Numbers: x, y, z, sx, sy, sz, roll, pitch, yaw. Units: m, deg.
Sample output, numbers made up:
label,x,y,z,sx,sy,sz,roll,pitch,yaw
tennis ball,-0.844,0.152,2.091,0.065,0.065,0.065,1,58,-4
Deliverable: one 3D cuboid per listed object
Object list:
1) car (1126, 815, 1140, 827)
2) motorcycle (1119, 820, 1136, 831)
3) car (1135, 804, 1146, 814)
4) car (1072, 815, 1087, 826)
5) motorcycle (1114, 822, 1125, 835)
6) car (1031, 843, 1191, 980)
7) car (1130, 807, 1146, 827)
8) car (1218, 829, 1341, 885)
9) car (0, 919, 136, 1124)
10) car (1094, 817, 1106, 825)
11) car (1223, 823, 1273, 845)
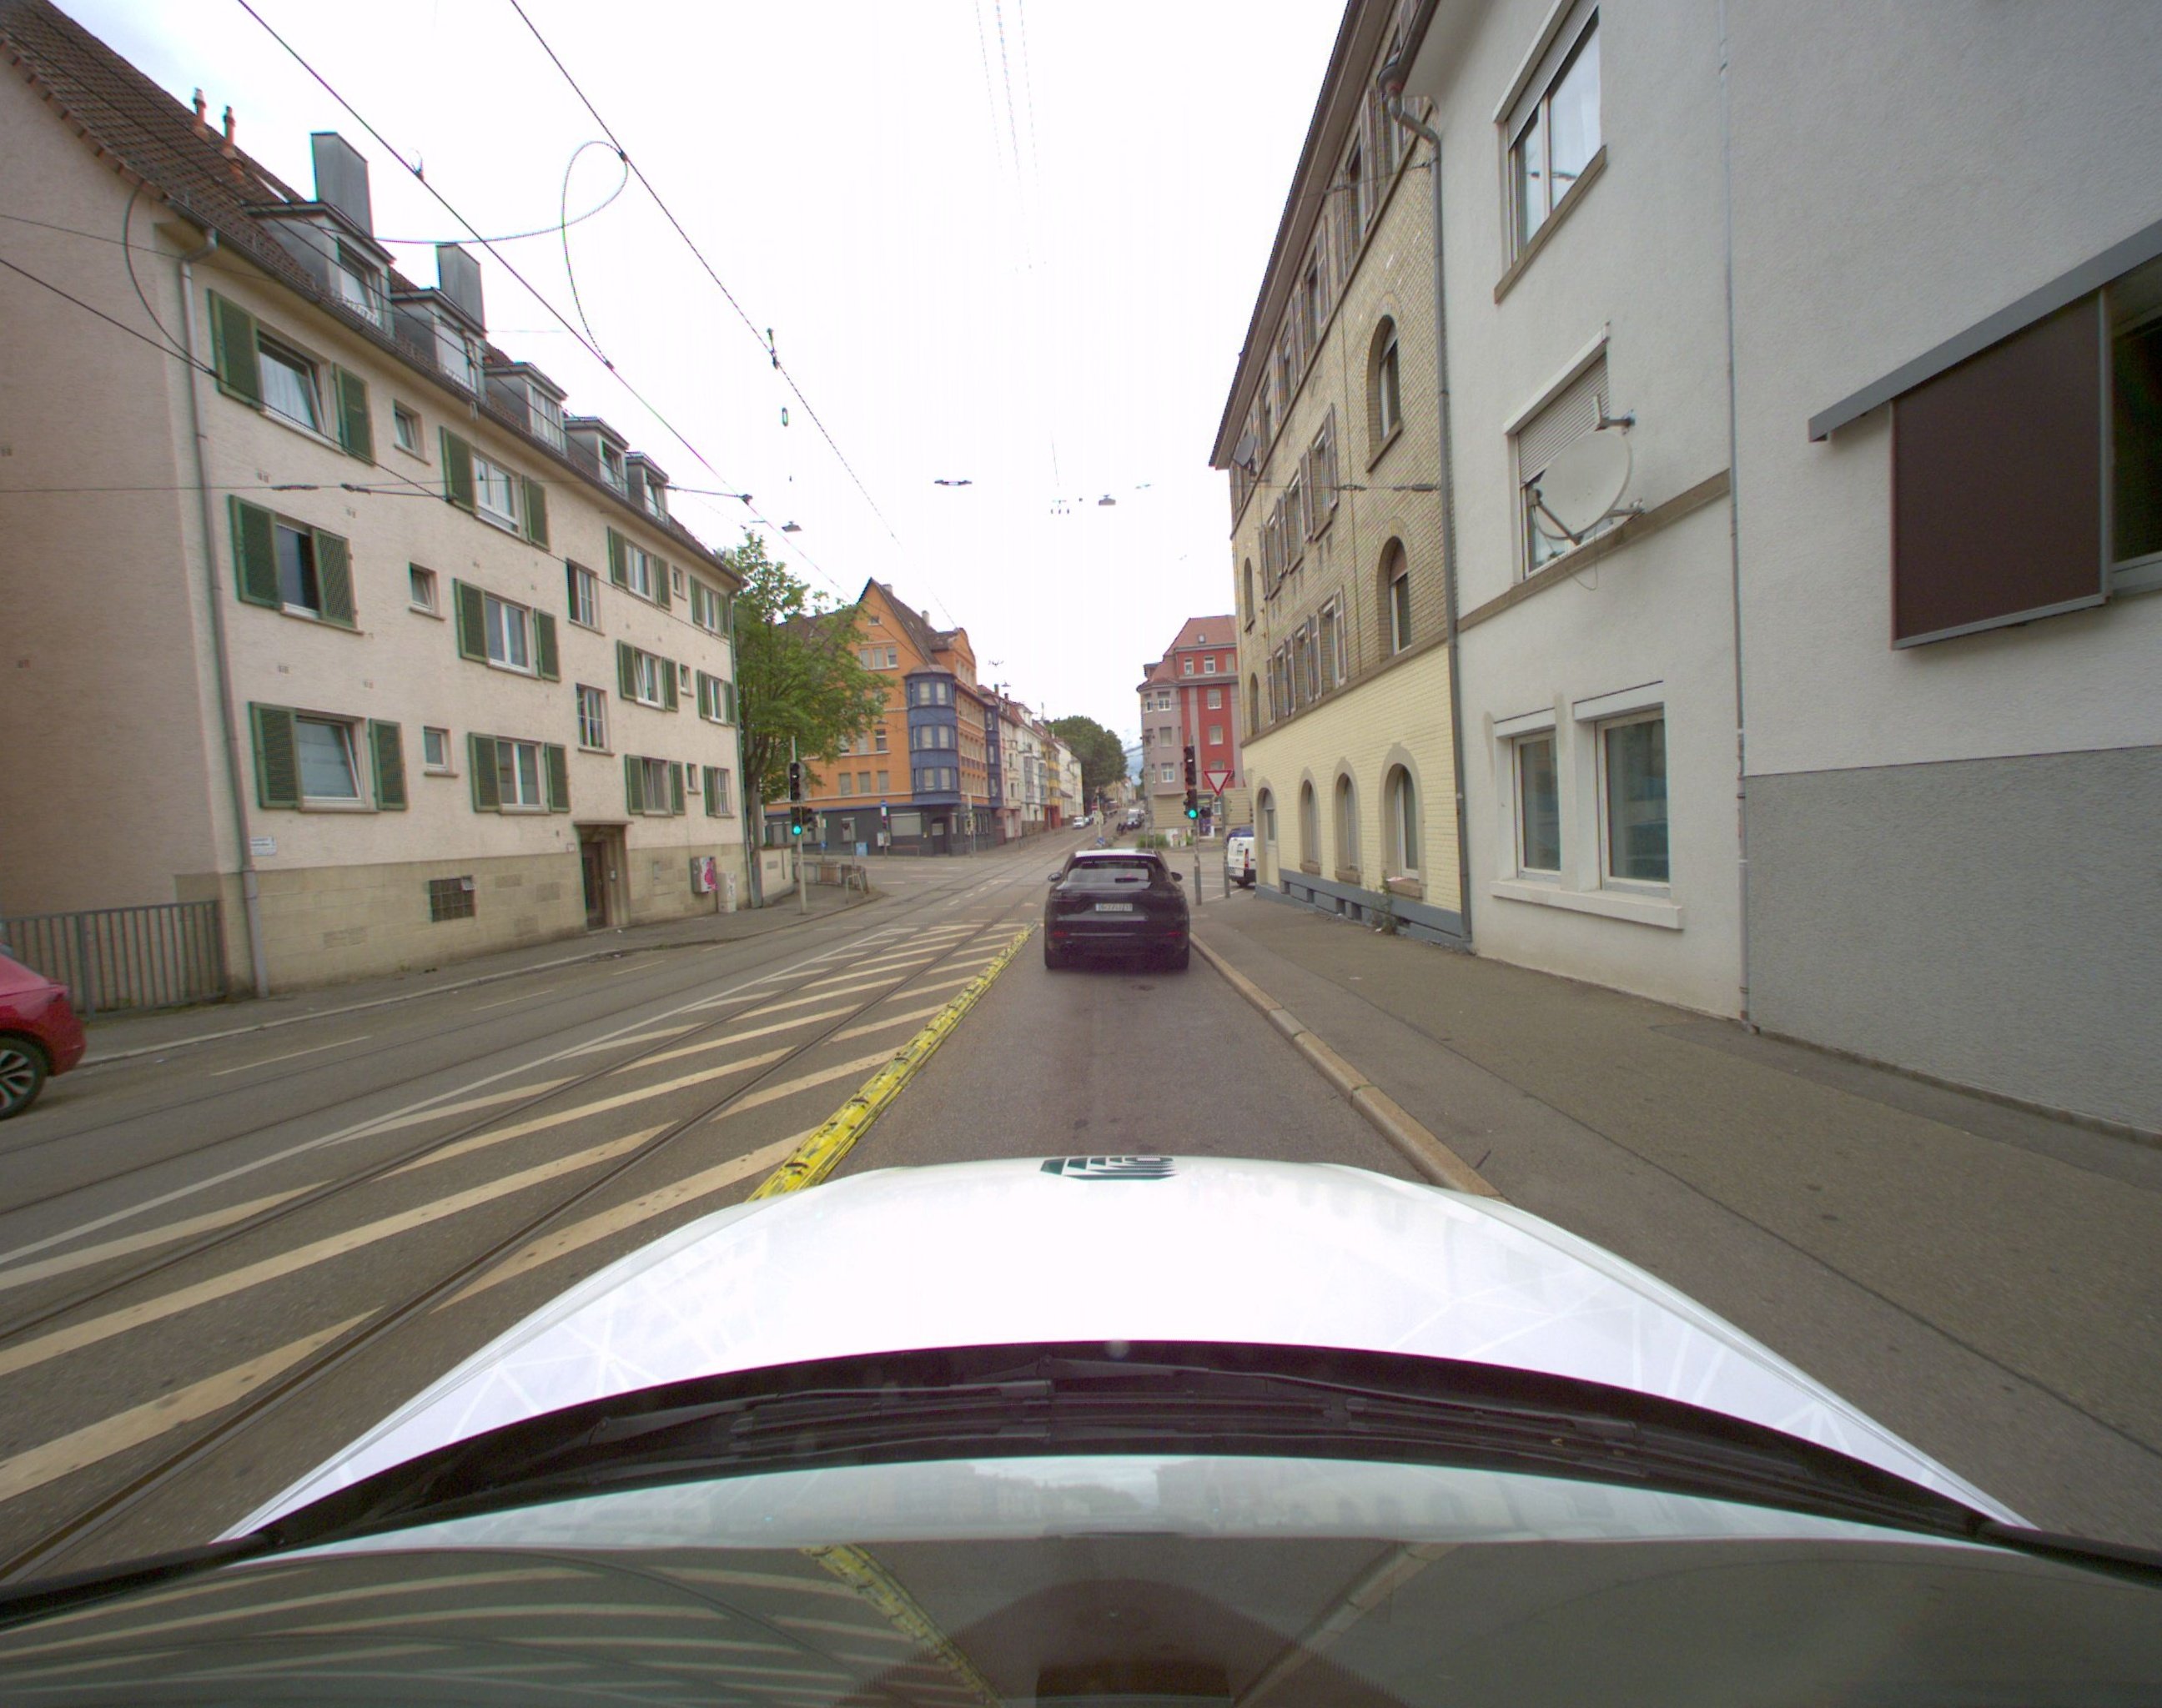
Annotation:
label,x,y,z,sx,sy,sz,roll,pitch,yaw
car,7.455,-4.757,116.975,1.831,1.568,3.827,-1,3,6
motorcycle,5.918,-3.591,103.928,2.173,1.326,0.699,-1,3,-5
car,13.512,-10.215,183.487,2.255,2.183,4.779,-1,3,6
car,-0.224,-5.280,129.222,1.983,1.692,4.009,-1,3,6
motorcycle,4.374,-2.962,93.429,0.858,1.326,2.182,-8,3,-3
car,0.655,0.698,12.430,2.013,1.641,4.366,0,2,7
car,8.626,-5.553,122.727,2.255,2.889,4.779,-1,3,6
car,7.685,0.068,31.570,4.287,1.883,1.858,-3,3,-21
car,-8.902,1.332,4.688,1.778,1.438,4.263,-5,0,2
car,3.230,-5.651,140.489,1.677,1.326,3.670,-1,3,6
car,13.820,-1.706,67.330,4.163,1.534,1.896,-6,5,-40
